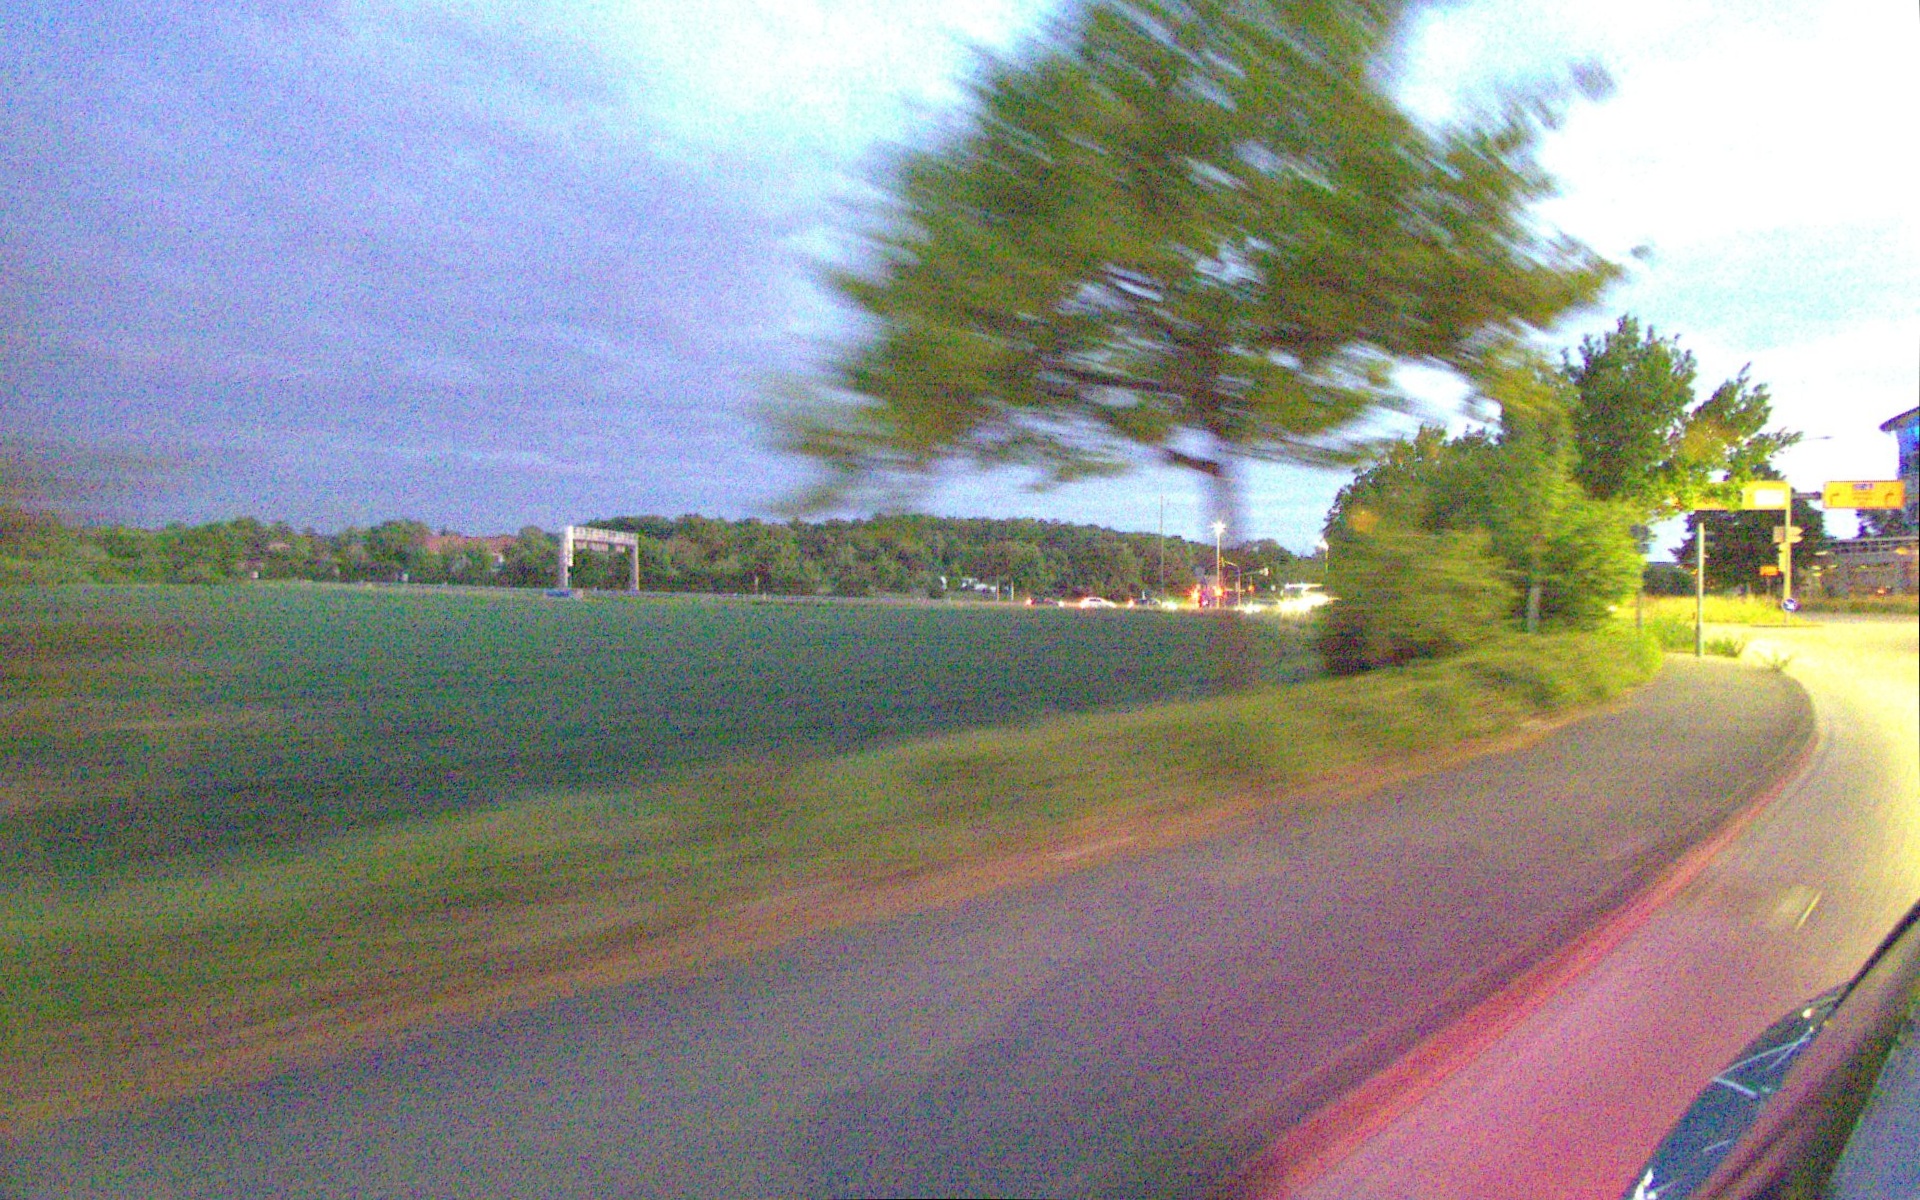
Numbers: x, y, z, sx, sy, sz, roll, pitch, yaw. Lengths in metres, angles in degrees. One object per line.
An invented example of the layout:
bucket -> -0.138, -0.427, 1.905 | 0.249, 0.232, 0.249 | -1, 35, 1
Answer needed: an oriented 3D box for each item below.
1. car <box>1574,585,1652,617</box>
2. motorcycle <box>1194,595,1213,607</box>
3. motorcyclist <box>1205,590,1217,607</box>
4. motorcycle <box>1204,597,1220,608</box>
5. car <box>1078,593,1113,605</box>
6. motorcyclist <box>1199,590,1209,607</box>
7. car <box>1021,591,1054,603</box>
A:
car -> 35.340, 0.047, 54.923 | 1.642, 1.674, 4.404 | -1, 0, 5
motorcycle -> 26.531, 0.137, 110.309 | 1.784, 1.195, 0.851 | -3, 3, -24
motorcyclist -> 27.168, -0.156, 109.539 | 0.852, 1.830, 0.919 | -4, 3, -19
motorcycle -> 27.261, 0.240, 109.559 | 1.545, 1.045, 0.725 | -4, 3, -19
car -> 16.969, -0.150, 126.698 | 4.226, 1.464, 1.779 | 1, -2, 13
motorcyclist -> 26.547, -0.198, 110.300 | 0.774, 1.780, 0.685 | -3, 3, -24
car -> 9.767, -0.363, 127.786 | 3.937, 1.544, 1.831 | 1, 0, 11
